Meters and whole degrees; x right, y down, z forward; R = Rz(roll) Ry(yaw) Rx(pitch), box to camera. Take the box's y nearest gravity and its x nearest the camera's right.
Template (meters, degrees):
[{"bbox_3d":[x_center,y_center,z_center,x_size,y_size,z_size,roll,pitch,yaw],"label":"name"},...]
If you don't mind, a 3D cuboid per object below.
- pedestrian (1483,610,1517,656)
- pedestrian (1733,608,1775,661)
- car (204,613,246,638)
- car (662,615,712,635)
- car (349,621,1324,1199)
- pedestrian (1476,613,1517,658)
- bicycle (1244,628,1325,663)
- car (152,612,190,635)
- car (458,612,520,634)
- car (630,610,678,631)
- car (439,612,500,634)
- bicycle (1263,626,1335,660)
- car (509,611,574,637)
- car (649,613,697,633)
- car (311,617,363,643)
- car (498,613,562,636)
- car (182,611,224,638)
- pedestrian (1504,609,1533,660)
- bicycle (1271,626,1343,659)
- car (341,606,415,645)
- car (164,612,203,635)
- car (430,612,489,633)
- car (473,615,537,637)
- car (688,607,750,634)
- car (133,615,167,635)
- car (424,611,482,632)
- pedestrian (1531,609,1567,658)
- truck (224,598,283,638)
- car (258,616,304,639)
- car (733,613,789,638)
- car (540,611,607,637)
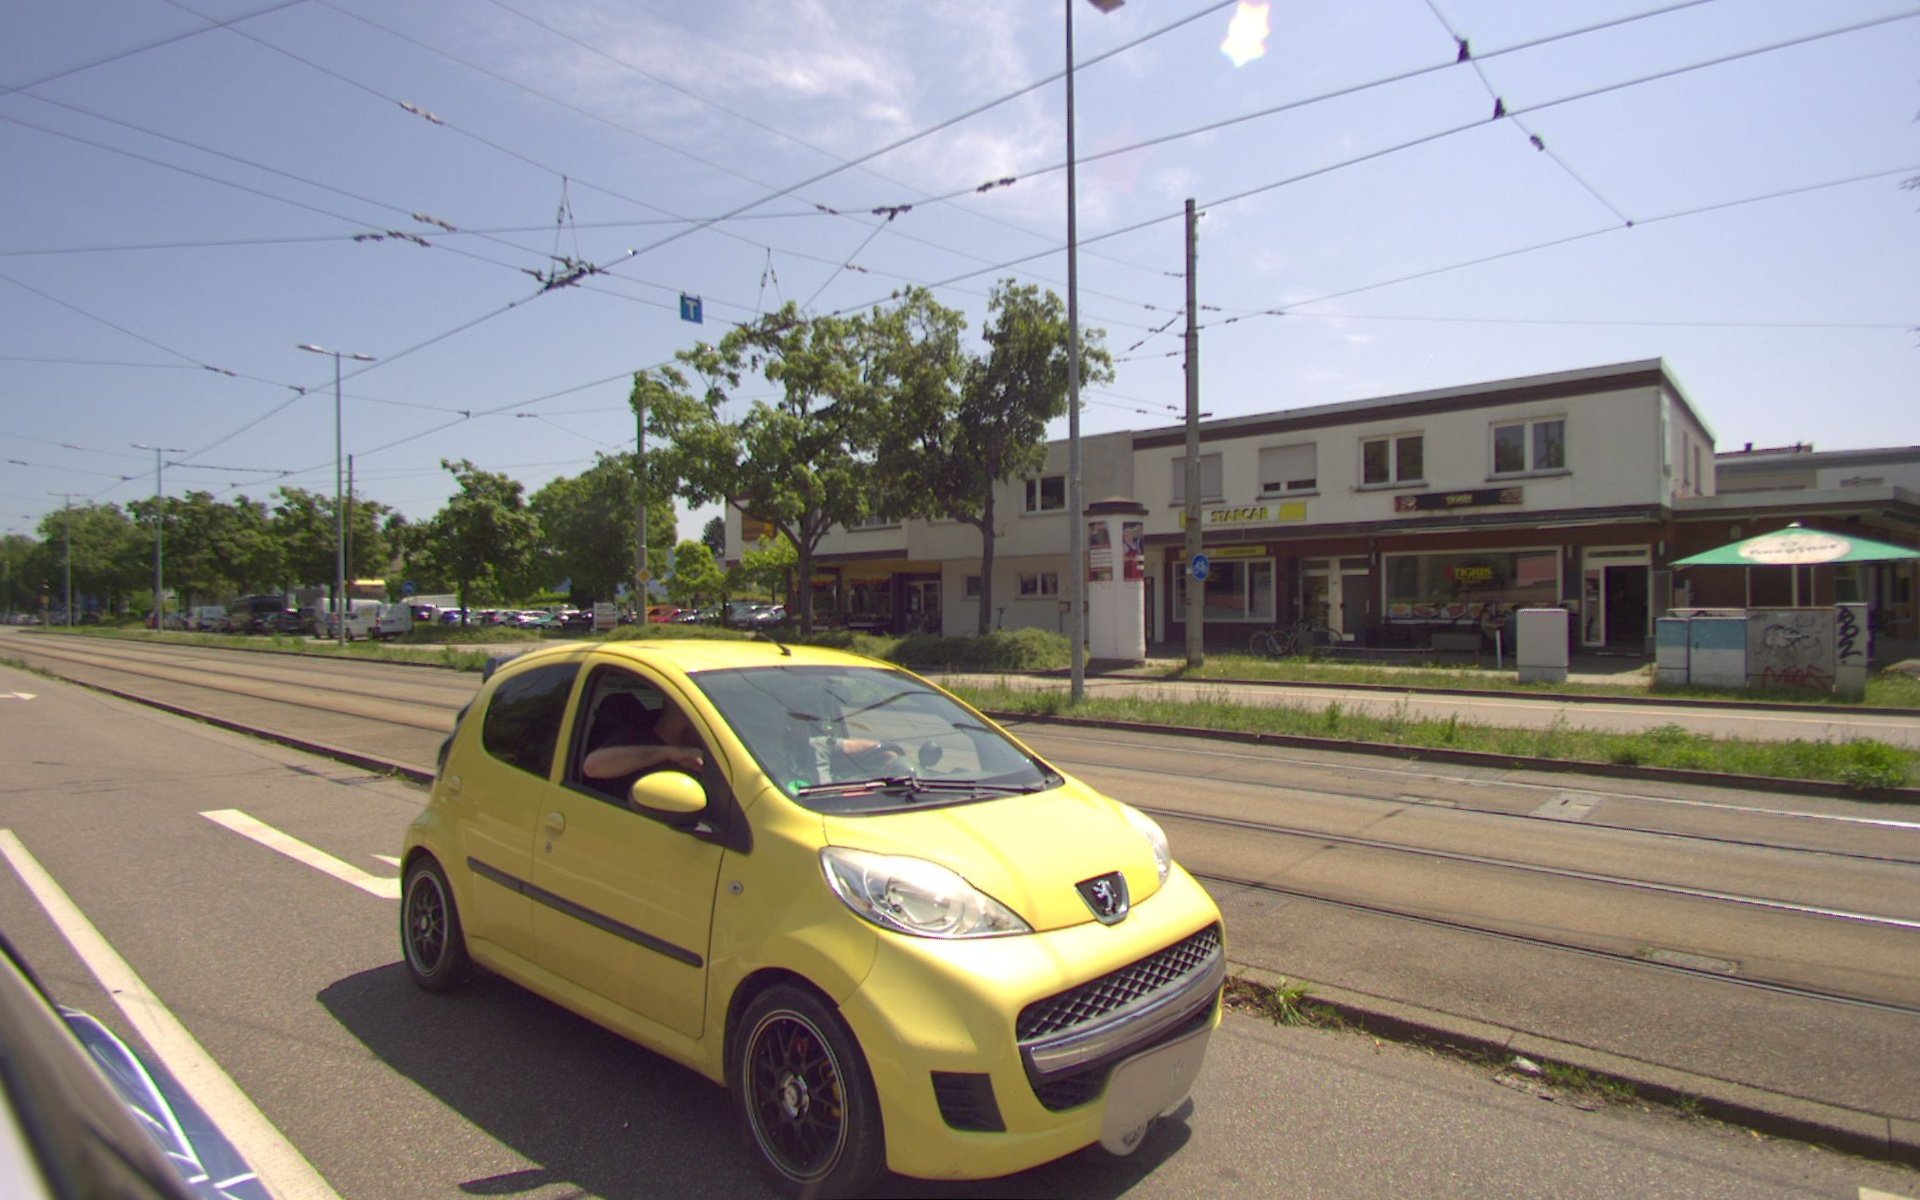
[{"bbox_3d":[14.086,0.859,26.409,0.674,1.172,0.512,-1,-1,42],"label":"pedestrian"},{"bbox_3d":[17.389,0.738,22.164,0.674,1.136,0.512,-1,-1,42],"label":"pedestrian"},{"bbox_3d":[-53.271,1.829,73.338,3.867,1.807,1.660,-1,-1,41],"label":"car"},{"bbox_3d":[-20.126,1.850,74.647,1.505,1.400,3.313,-1,-1,38],"label":"car"},{"bbox_3d":[-0.737,0.833,3.820,3.654,1.432,1.599,0,-3,41],"label":"car"},{"bbox_3d":[13.665,0.900,25.762,0.810,1.136,0.558,-1,-1,42],"label":"pedestrian"},{"bbox_3d":[8.496,1.182,26.552,1.958,0.854,0.596,-1,1,42],"label":"bicycle"},{"bbox_3d":[-65.182,1.926,83.573,4.200,1.807,1.660,-1,-2,41],"label":"car"},{"bbox_3d":[-31.082,1.523,66.879,1.600,1.404,3.374,-1,-1,36],"label":"car"},{"bbox_3d":[-23.690,1.574,78.498,1.505,1.573,3.313,-1,-1,38],"label":"car"},{"bbox_3d":[-33.052,1.530,68.279,1.600,1.404,3.374,-1,-1,36],"label":"car"},{"bbox_3d":[9.195,1.148,27.522,1.787,0.854,0.522,-1,1,42],"label":"bicycle"},{"bbox_3d":[-25.362,1.431,61.413,1.596,1.502,3.374,-1,-1,36],"label":"car"},{"bbox_3d":[-21.766,1.719,76.873,1.505,1.469,3.313,-1,-1,38],"label":"car"},{"bbox_3d":[-34.968,1.649,56.778,3.569,1.397,1.652,-1,-1,43],"label":"car"},{"bbox_3d":[-26.873,1.495,63.367,1.600,1.404,3.374,-1,-1,36],"label":"car"},{"bbox_3d":[-57.321,1.842,76.607,4.507,1.989,1.660,-1,-1,41],"label":"car"},{"bbox_3d":[13.742,0.845,24.902,0.491,1.248,0.568,-1,-1,41],"label":"pedestrian"},{"bbox_3d":[9.565,1.162,27.946,1.787,0.854,0.522,-1,1,42],"label":"bicycle"},{"bbox_3d":[-30.250,1.306,52.515,4.660,1.898,1.972,-1,-1,42],"label":"car"},{"bbox_3d":[-61.772,1.869,80.526,4.200,1.807,1.660,-1,-1,41],"label":"car"},{"bbox_3d":[-34.884,1.563,70.586,1.600,1.404,3.374,-1,-1,36],"label":"car"},{"bbox_3d":[-28.933,1.641,64.434,1.600,1.404,3.374,-1,-1,36],"label":"car"},{"bbox_3d":[-16.819,1.419,70.708,1.812,1.798,3.948,-1,-1,38],"label":"car"},{"bbox_3d":[-70.358,2.169,87.905,3.821,1.716,1.660,-1,-1,41],"label":"car"},{"bbox_3d":[-36.423,1.541,72.717,1.600,1.517,3.374,-1,-1,36],"label":"car"},{"bbox_3d":[14.526,0.819,24.967,0.674,1.208,0.512,-1,-1,42],"label":"pedestrian"},{"bbox_3d":[-47.132,1.182,67.479,4.928,2.560,2.196,-1,-1,42],"label":"truck"},{"bbox_3d":[-42.543,1.707,63.369,3.670,1.397,1.652,-1,-1,43],"label":"car"},{"bbox_3d":[-13.109,1.664,66.879,1.622,1.549,3.449,-1,-1,38],"label":"car"},{"bbox_3d":[-23.036,1.415,60.381,1.790,1.502,3.374,-1,-1,36],"label":"car"}]
